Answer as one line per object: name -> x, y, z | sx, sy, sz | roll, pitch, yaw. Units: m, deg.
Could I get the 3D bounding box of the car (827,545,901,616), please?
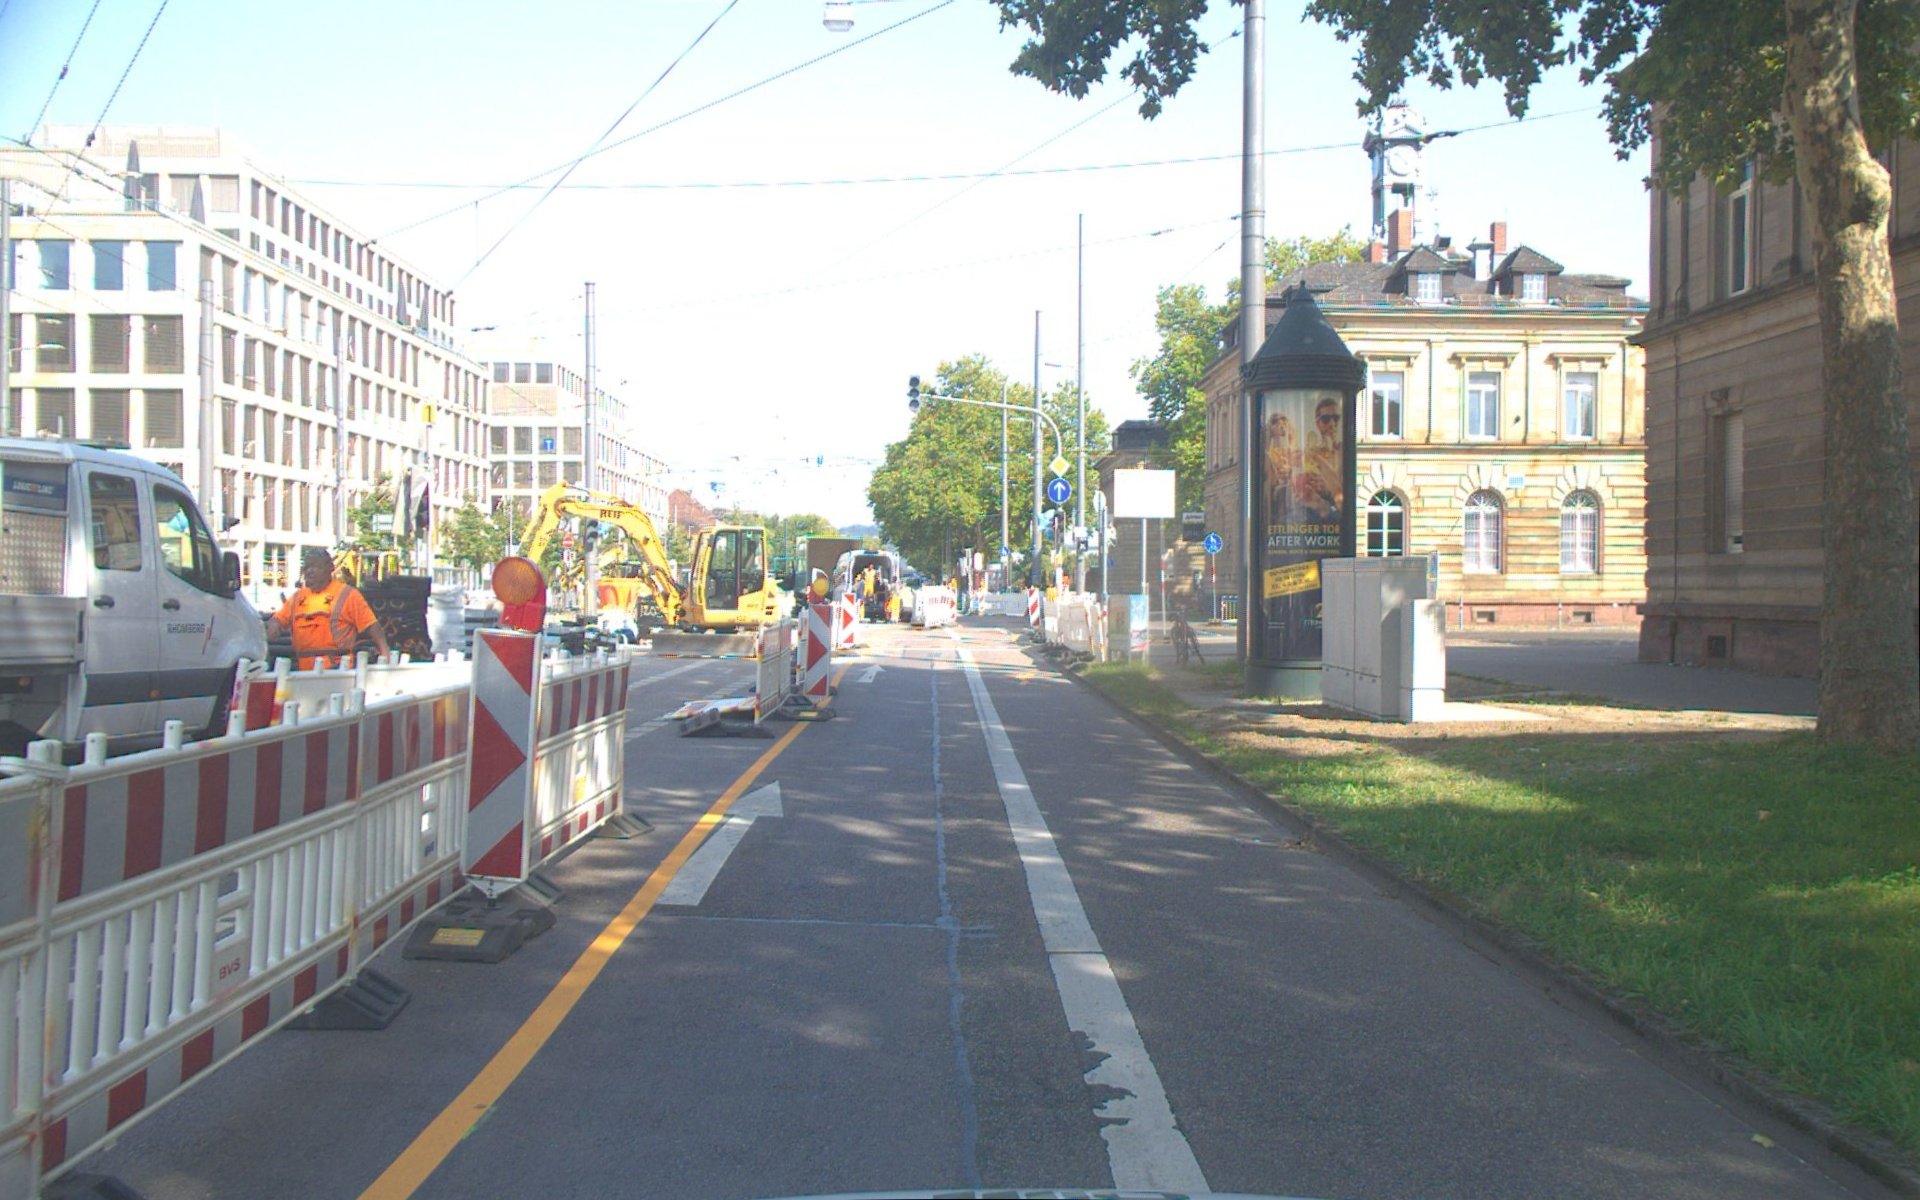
car -> -3.935, -0.762, 66.948 | 2.186, 2.777, 5.154 | 0, 0, -12

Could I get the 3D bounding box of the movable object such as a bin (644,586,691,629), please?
movable object such as a bin -> -8.357, 0.194, 47.416 | 0.734, 1.190, 2.292 | 0, 0, 6

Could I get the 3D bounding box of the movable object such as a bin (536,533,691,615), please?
movable object such as a bin -> -17.960, -1.347, 86.415 | 3.432, 4.083, 9.040 | 0, 1, 22

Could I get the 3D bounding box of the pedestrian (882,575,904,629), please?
pedestrian -> -2.598, 0.063, 63.827 | 0.718, 2.049, 0.908 | 0, 0, 5

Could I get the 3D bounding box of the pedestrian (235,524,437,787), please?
pedestrian -> -4.325, 0.366, 11.555 | 1.011, 1.740, 1.095 | 0, 0, -2

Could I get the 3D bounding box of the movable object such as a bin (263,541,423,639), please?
movable object such as a bin -> -22.874, -0.357, 61.855 | 2.788, 3.388, 8.346 | -1, 0, 0

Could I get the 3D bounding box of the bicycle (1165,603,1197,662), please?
bicycle -> 3.913, 0.558, 29.357 | 0.401, 1.004, 1.376 | 0, 0, 1

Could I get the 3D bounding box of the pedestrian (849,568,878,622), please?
pedestrian -> -3.696, -0.201, 63.467 | 0.720, 2.049, 0.905 | -1, 0, 30

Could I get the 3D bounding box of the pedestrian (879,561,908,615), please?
pedestrian -> -2.513, -0.444, 62.864 | 0.720, 2.049, 0.905 | -1, 0, 32

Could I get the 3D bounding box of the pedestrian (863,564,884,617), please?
pedestrian -> -3.400, -0.364, 64.903 | 0.718, 2.049, 0.908 | 0, 0, 4

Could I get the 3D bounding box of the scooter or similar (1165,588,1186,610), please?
scooter or similar -> 12.809, -0.067, 98.420 | 1.236, 1.231, 0.419 | -2, 2, -27

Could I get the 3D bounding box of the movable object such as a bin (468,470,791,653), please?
movable object such as a bin -> -6.555, -0.700, 32.859 | 6.055, 3.404, 2.104 | 0, 0, -21

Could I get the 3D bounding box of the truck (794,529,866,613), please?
truck -> -6.173, -1.327, 77.435 | 2.625, 3.742, 8.195 | 0, 1, -10

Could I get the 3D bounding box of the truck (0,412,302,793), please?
truck -> -6.734, 0.018, 10.553 | 2.113, 2.260, 7.051 | 0, 0, 1
